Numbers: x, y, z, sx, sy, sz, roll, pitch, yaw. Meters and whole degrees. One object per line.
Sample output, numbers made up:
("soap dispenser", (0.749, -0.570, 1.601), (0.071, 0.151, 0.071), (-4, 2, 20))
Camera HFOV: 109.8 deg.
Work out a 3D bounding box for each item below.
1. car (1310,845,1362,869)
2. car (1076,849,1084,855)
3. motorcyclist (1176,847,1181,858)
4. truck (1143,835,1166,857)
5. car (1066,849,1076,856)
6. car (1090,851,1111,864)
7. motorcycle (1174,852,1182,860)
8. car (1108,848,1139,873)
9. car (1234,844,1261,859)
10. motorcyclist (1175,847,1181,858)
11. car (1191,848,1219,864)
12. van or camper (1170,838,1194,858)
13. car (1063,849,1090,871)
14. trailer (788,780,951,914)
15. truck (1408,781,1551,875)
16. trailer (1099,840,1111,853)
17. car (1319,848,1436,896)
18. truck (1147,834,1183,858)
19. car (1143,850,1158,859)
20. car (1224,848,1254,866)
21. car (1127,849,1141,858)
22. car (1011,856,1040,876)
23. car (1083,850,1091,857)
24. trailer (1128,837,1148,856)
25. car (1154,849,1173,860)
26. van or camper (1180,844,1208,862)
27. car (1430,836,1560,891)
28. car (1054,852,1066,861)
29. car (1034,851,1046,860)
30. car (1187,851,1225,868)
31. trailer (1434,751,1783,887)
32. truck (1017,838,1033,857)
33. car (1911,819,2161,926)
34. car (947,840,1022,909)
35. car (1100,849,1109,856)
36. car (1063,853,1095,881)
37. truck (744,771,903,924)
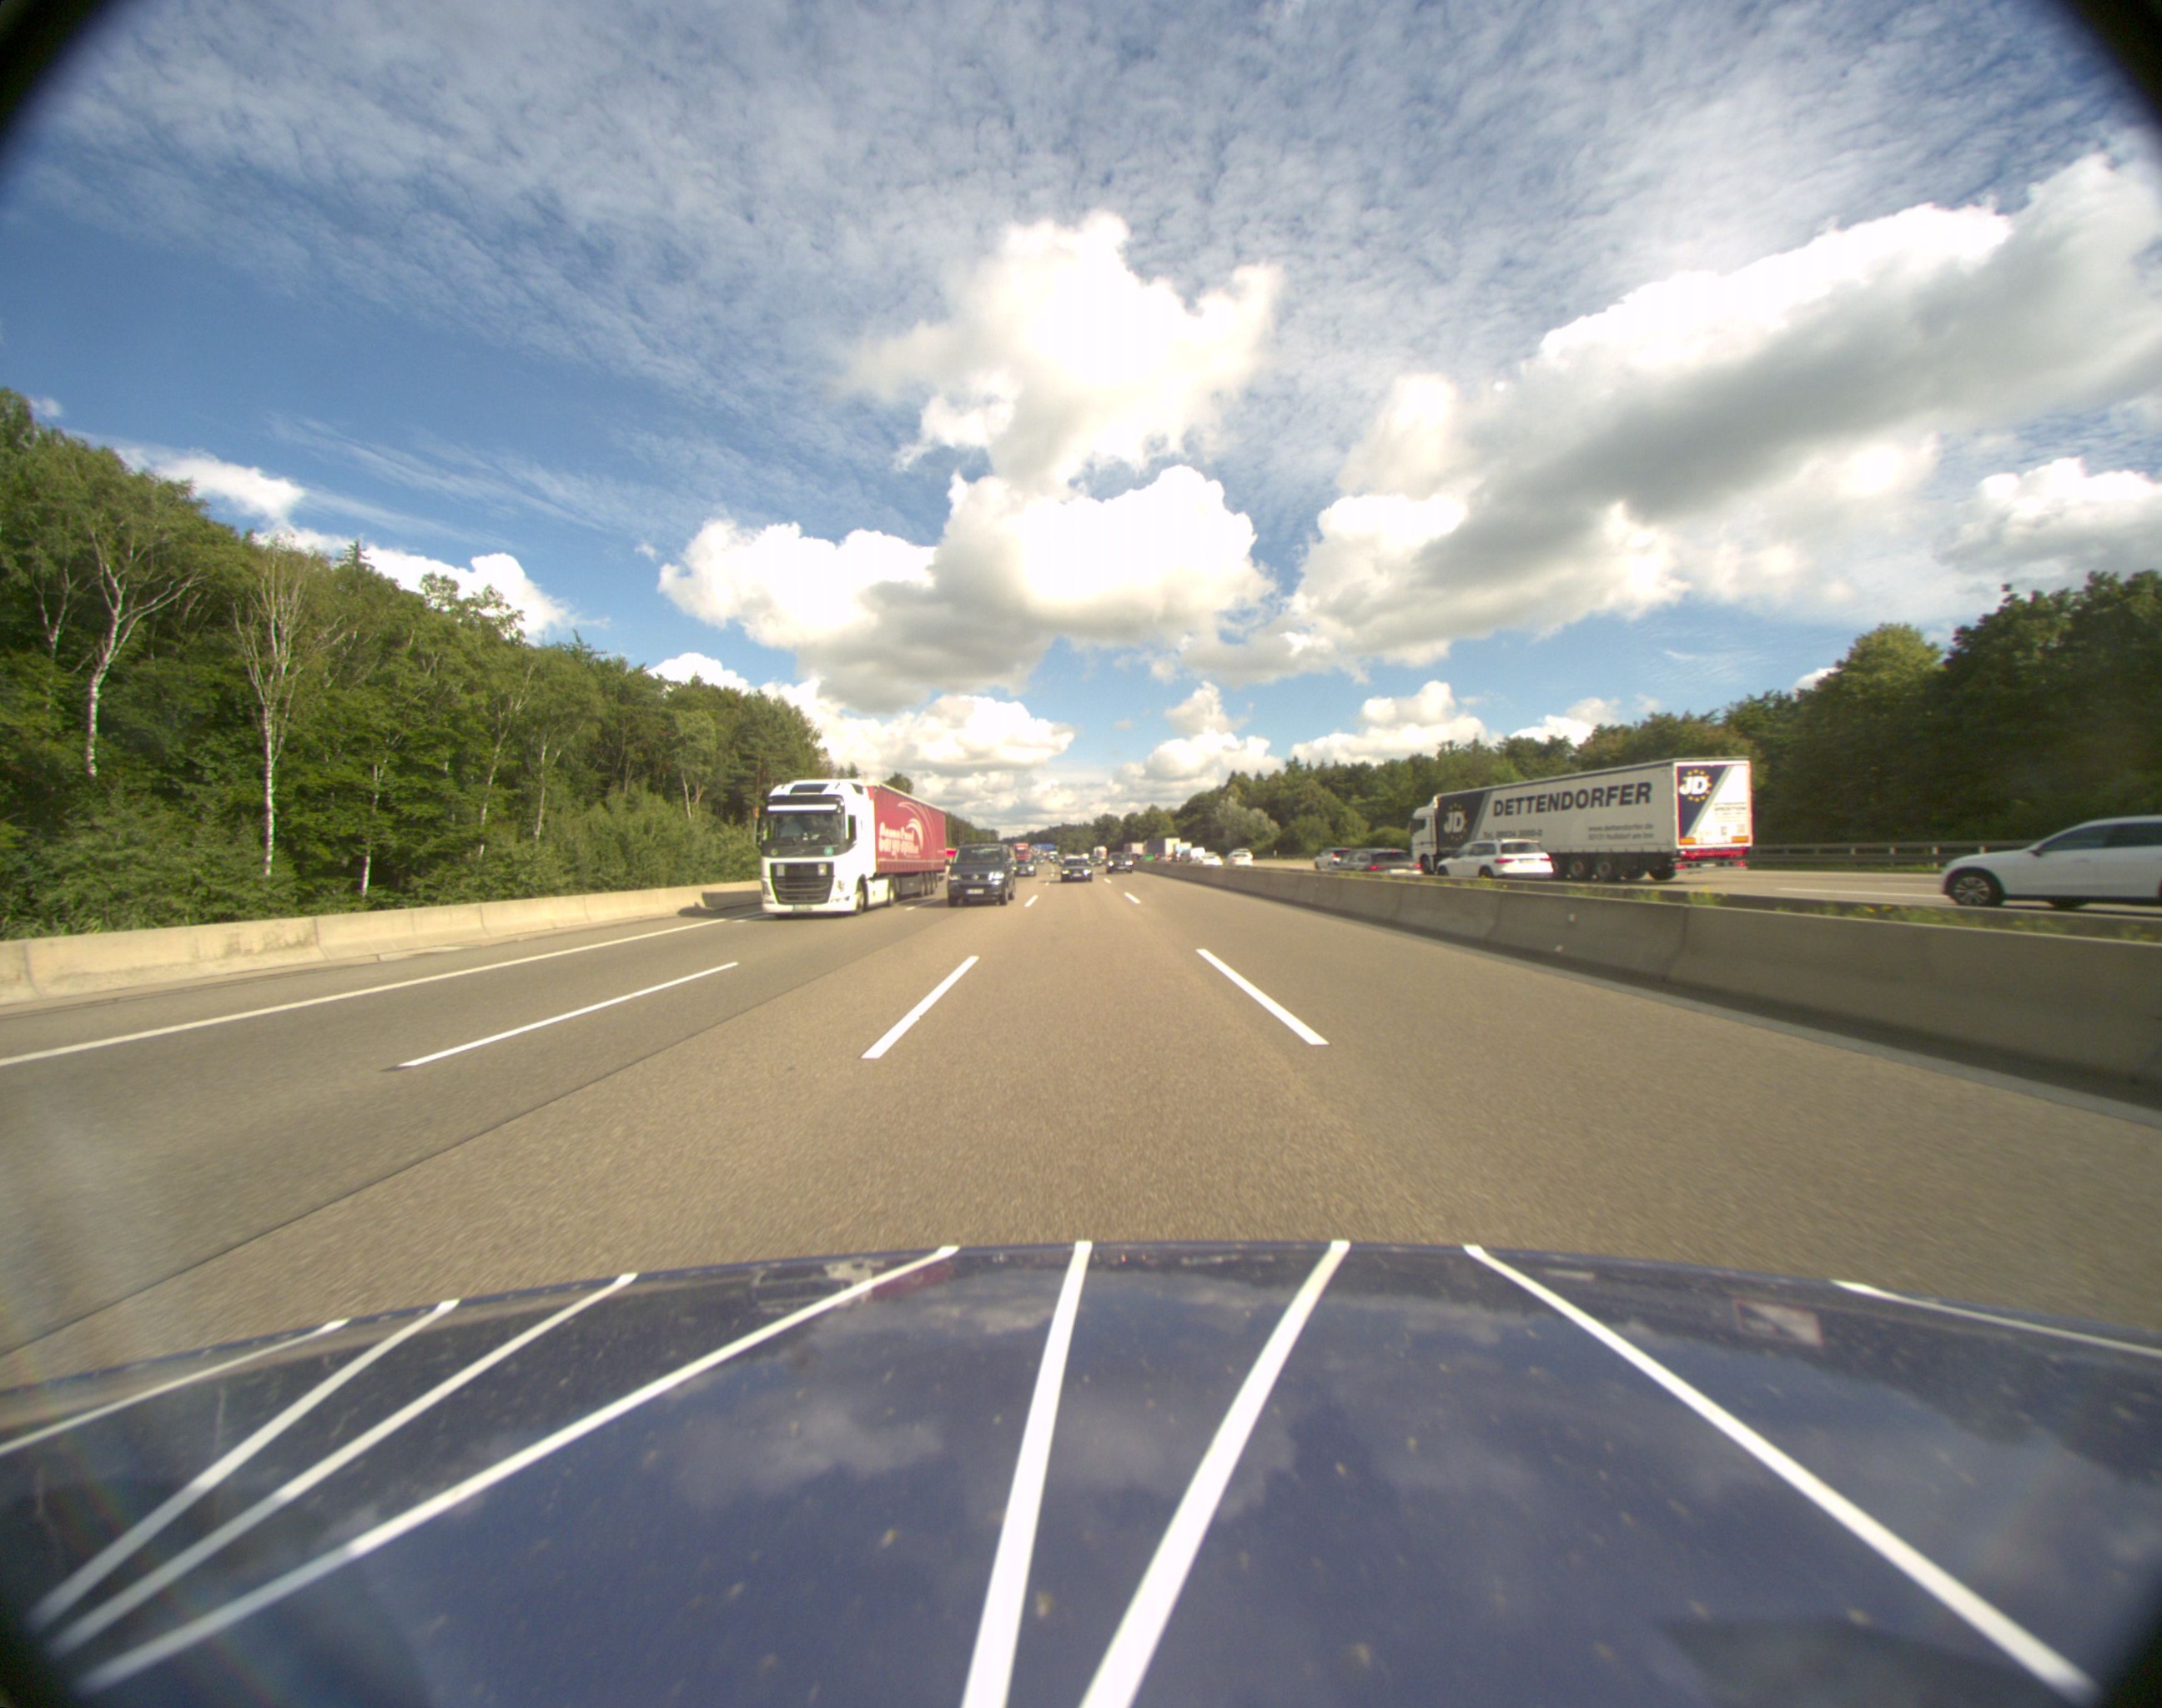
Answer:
("car", (16.728, 0.189, 50.145), (1.815, 1.444, 4.800), (-2, 0, 0))
("car", (-0.343, -0.674, 231.747), (2.161, 1.690, 5.348), (-2, 0, -5))
("motorcyclist", (13.068, -0.253, 101.633), (0.604, 1.467, 0.532), (-2, 1, -2))
("truck", (13.730, -1.462, 142.536), (2.828, 4.070, 6.056), (-2, 0, -9))
("car", (-2.364, -0.260, 177.288), (2.153, 1.540, 4.675), (-2, 0, -5))
("car", (2.455, 0.407, 96.528), (2.153, 1.540, 4.675), (-2, 0, -5))
("motorcycle", (13.061, 0.302, 102.238), (0.611, 1.034, 2.174), (-2, 0, -3))
("car", (3.335, 0.467, 60.475), (2.153, 1.800, 5.098), (-2, 1, 1))
("car", (20.503, -0.307, 93.753), (2.177, 1.674, 4.785), (-2, 0, 0))
("motorcyclist", (13.020, -0.259, 102.224), (0.604, 1.467, 0.532), (-2, 1, -2))
("car", (12.216, 0.186, 74.991), (1.774, 1.386, 4.689), (-2, 0, -3))
("van or camper", (15.218, -0.923, 114.432), (2.380, 2.875, 6.504), (0, 0, -3))
("car", (-0.348, 0.493, 67.471), (2.152, 1.800, 5.099), (-2, 1, 1))
("trailer", (-7.632, -0.230, 30.128), (2.781, 4.021, 13.711), (-2, 0, -1))
("truck", (19.120, -1.168, 36.991), (3.327, 4.083, 6.222), (-2, 0, -4))
("trailer", (7.672, -2.264, 242.268), (2.795, 3.922, 12.248), (-2, 0, -3))
("car", (9.550, 0.513, 24.920), (1.999, 1.354, 4.619), (-2, 0, 0))
("truck", (14.824, -1.414, 135.902), (2.828, 4.070, 13.833), (-2, 0, -9))
("car", (11.170, 0.037, 122.049), (1.788, 1.462, 4.330), (0, 0, -2))
("car", (13.227, 0.240, 63.808), (1.685, 1.389, 4.715), (-2, 0, 2))
("car", (9.742, -0.108, 140.200), (1.849, 1.586, 4.912), (-2, 0, -3))
("car", (-4.412, 0.885, 59.973), (2.153, 1.426, 5.096), (-2, 0, -5))
("car", (1.697, -0.244, 208.877), (1.854, 1.867, 4.613), (-2, 0, -4))
("trailer", (12.507, -1.628, 167.013), (2.975, 3.835, 11.278), (-2, 0, -2))
("car", (11.769, 0.078, 108.387), (2.177, 1.462, 4.785), (-2, 0, 0))
("van or camper", (13.275, -0.101, 89.395), (1.999, 1.926, 5.455), (-2, 0, -4))
("car", (13.623, 0.275, 25.392), (1.712, 1.584, 4.943), (-2, 0, 1))
("car", (-4.181, 0.451, 148.686), (2.153, 1.540, 4.675), (-2, 0, -5))
("car", (-7.728, 0.320, 141.897), (2.153, 1.540, 4.675), (-2, 0, -3))
("car", (9.330, 0.416, 57.025), (1.816, 1.154, 4.513), (-2, 0, -4))
("trailer", (19.554, -1.120, 30.461), (3.327, 4.083, 14.149), (-2, 0, -4))
("truck", (-11.563, -1.338, 156.646), (3.019, 3.662, 7.557), (-1, 0, -4))
("car", (17.259, 0.245, 12.448), (1.798, 1.608, 5.044), (-2, 0, 0))
("car", (-3.187, 0.625, 26.081), (1.854, 2.097, 4.932), (-2, 0, 0))
("car", (6.378, -0.309, 205.197), (1.854, 1.867, 4.613), (-2, 0, -4))
("car", (-0.088, 0.728, 45.067), (1.733, 1.500, 4.728), (-2, 0, 1))
("truck", (-7.556, -0.191, 23.236), (2.781, 4.022, 5.772), (-2, 0, 0))
